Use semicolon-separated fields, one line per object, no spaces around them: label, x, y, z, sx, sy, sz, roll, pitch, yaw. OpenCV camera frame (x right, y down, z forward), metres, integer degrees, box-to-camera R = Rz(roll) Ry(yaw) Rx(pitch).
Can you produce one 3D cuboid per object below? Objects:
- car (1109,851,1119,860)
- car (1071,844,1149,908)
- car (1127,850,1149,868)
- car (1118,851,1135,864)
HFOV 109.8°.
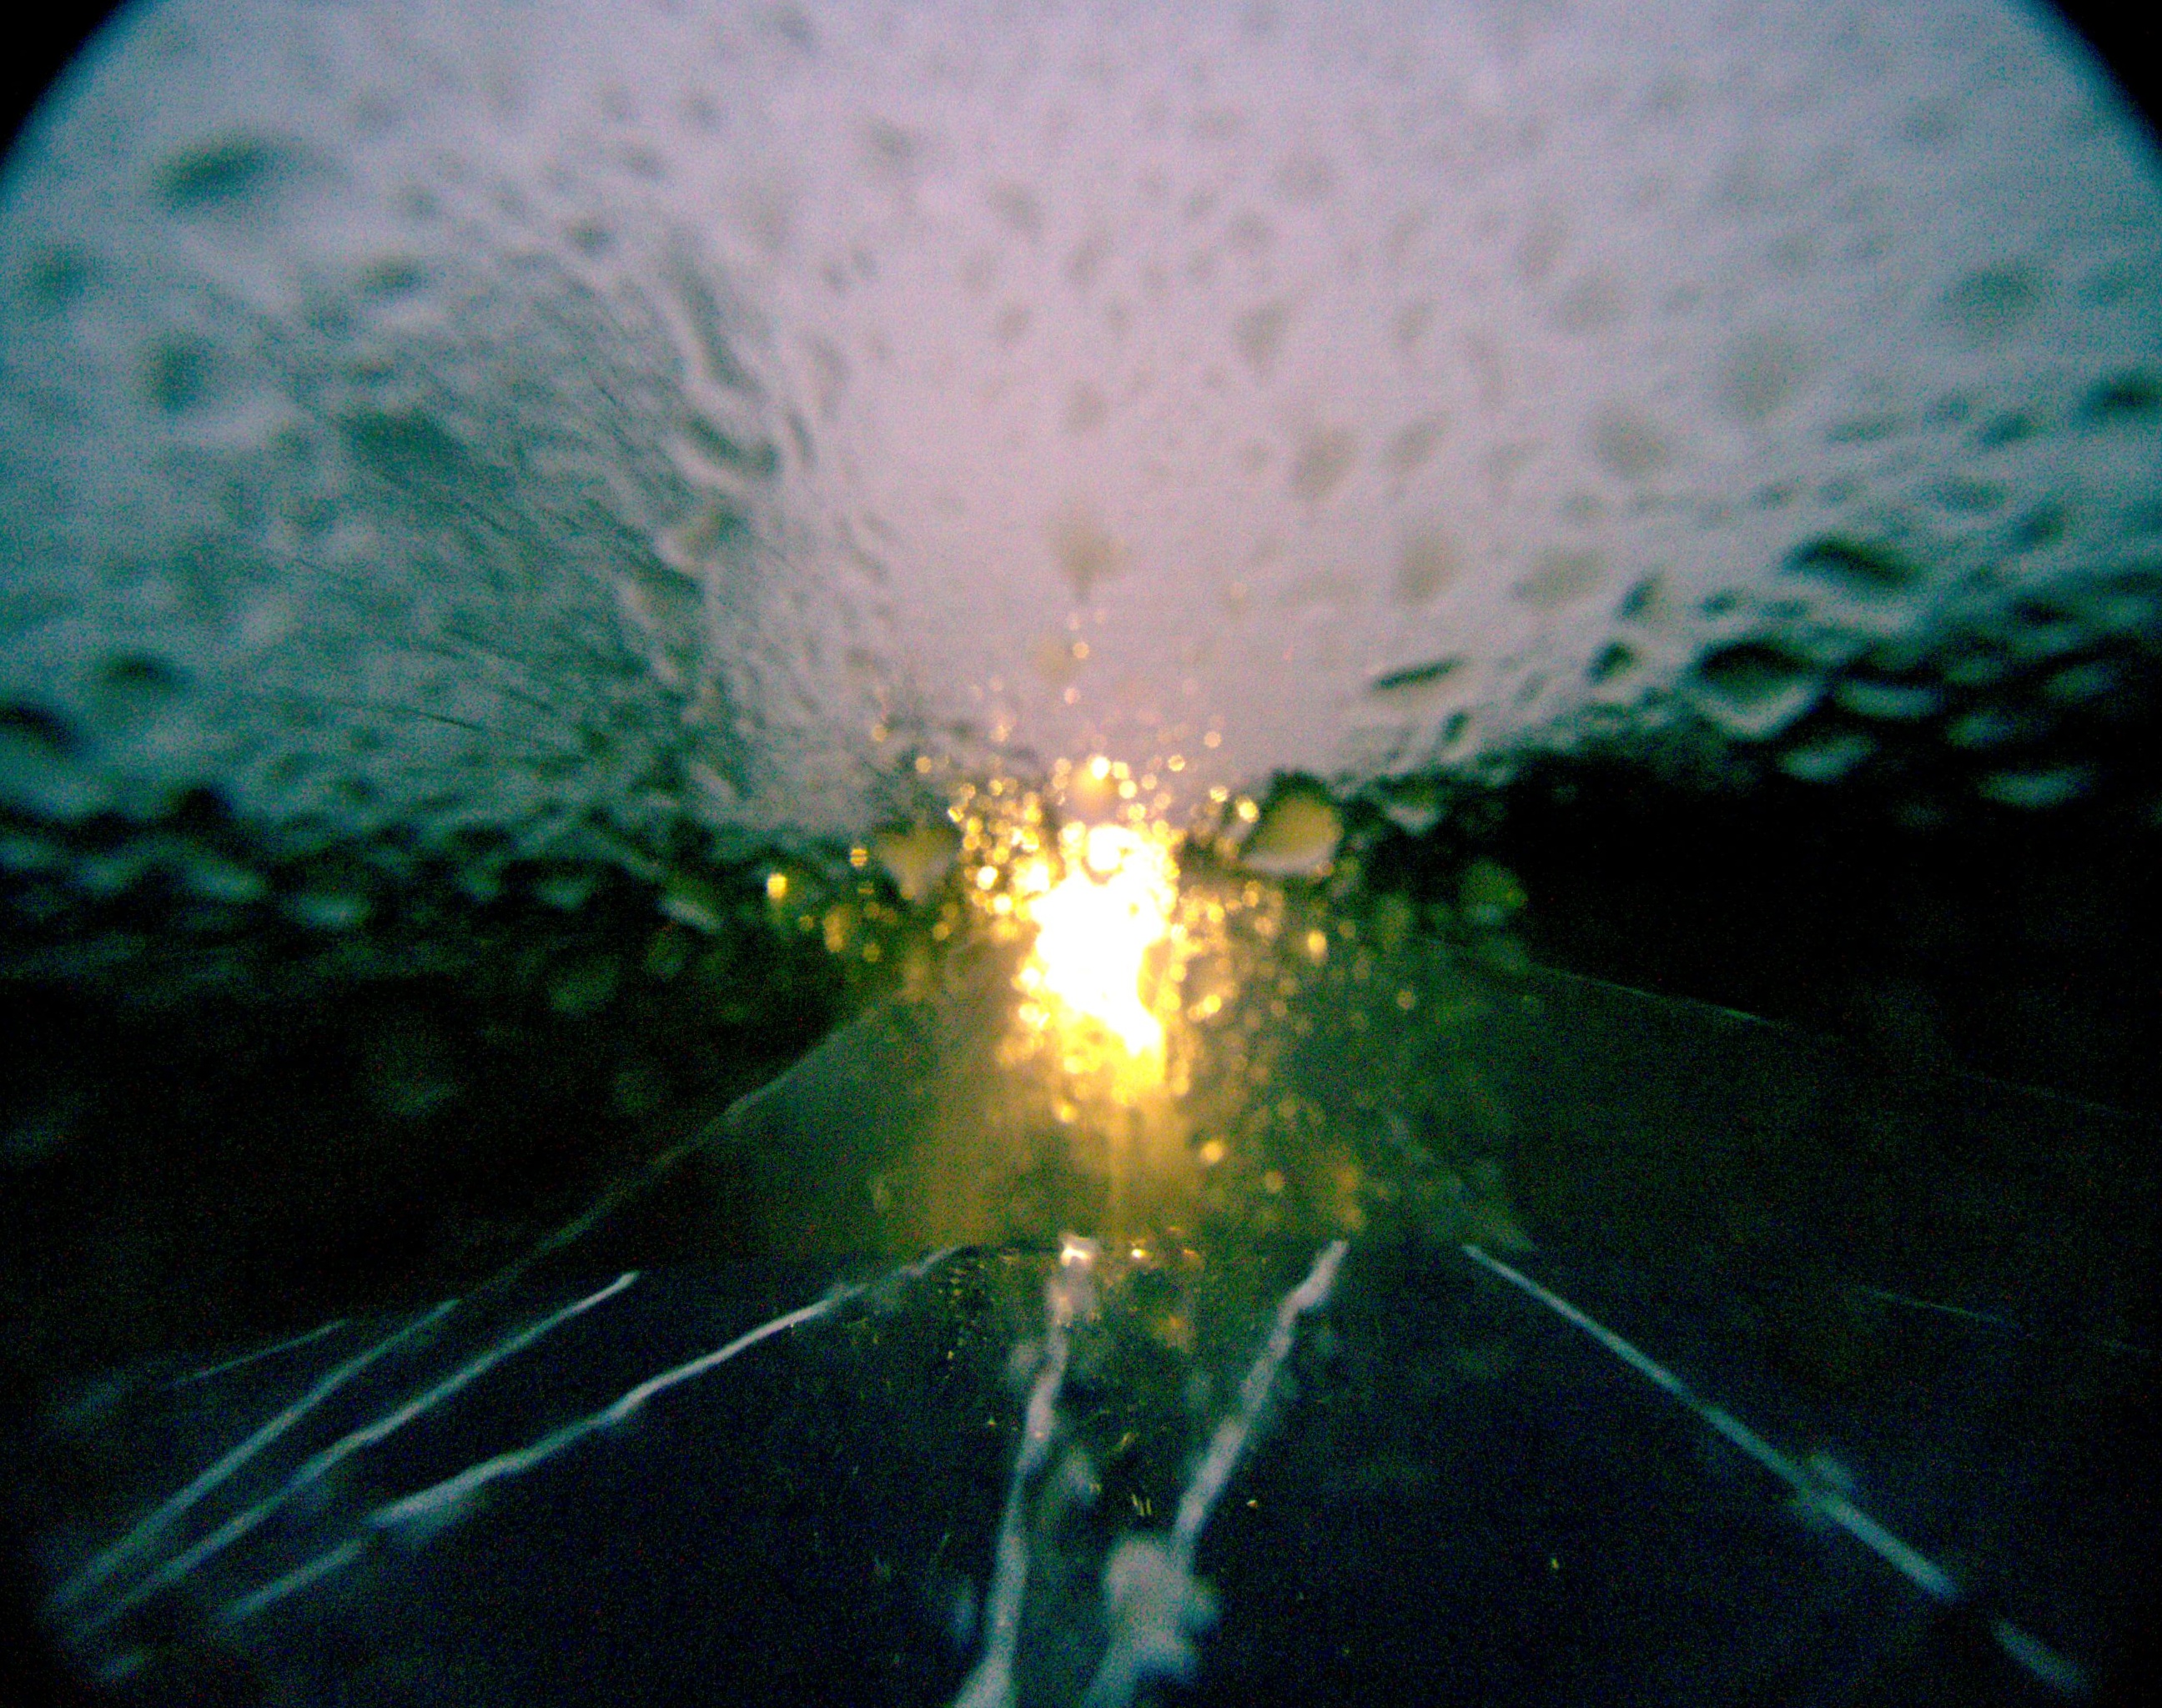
car;6.063;0.276;141.030;1.755;1.465;3.891;-2;0;1
car;0.939;0.575;22.102;1.998;1.601;4.001;-2;0;5
car;5.405;0.443;72.313;1.763;1.631;4.686;-2;0;2
car;5.604;0.449;94.173;1.830;1.490;4.095;-2;0;0
